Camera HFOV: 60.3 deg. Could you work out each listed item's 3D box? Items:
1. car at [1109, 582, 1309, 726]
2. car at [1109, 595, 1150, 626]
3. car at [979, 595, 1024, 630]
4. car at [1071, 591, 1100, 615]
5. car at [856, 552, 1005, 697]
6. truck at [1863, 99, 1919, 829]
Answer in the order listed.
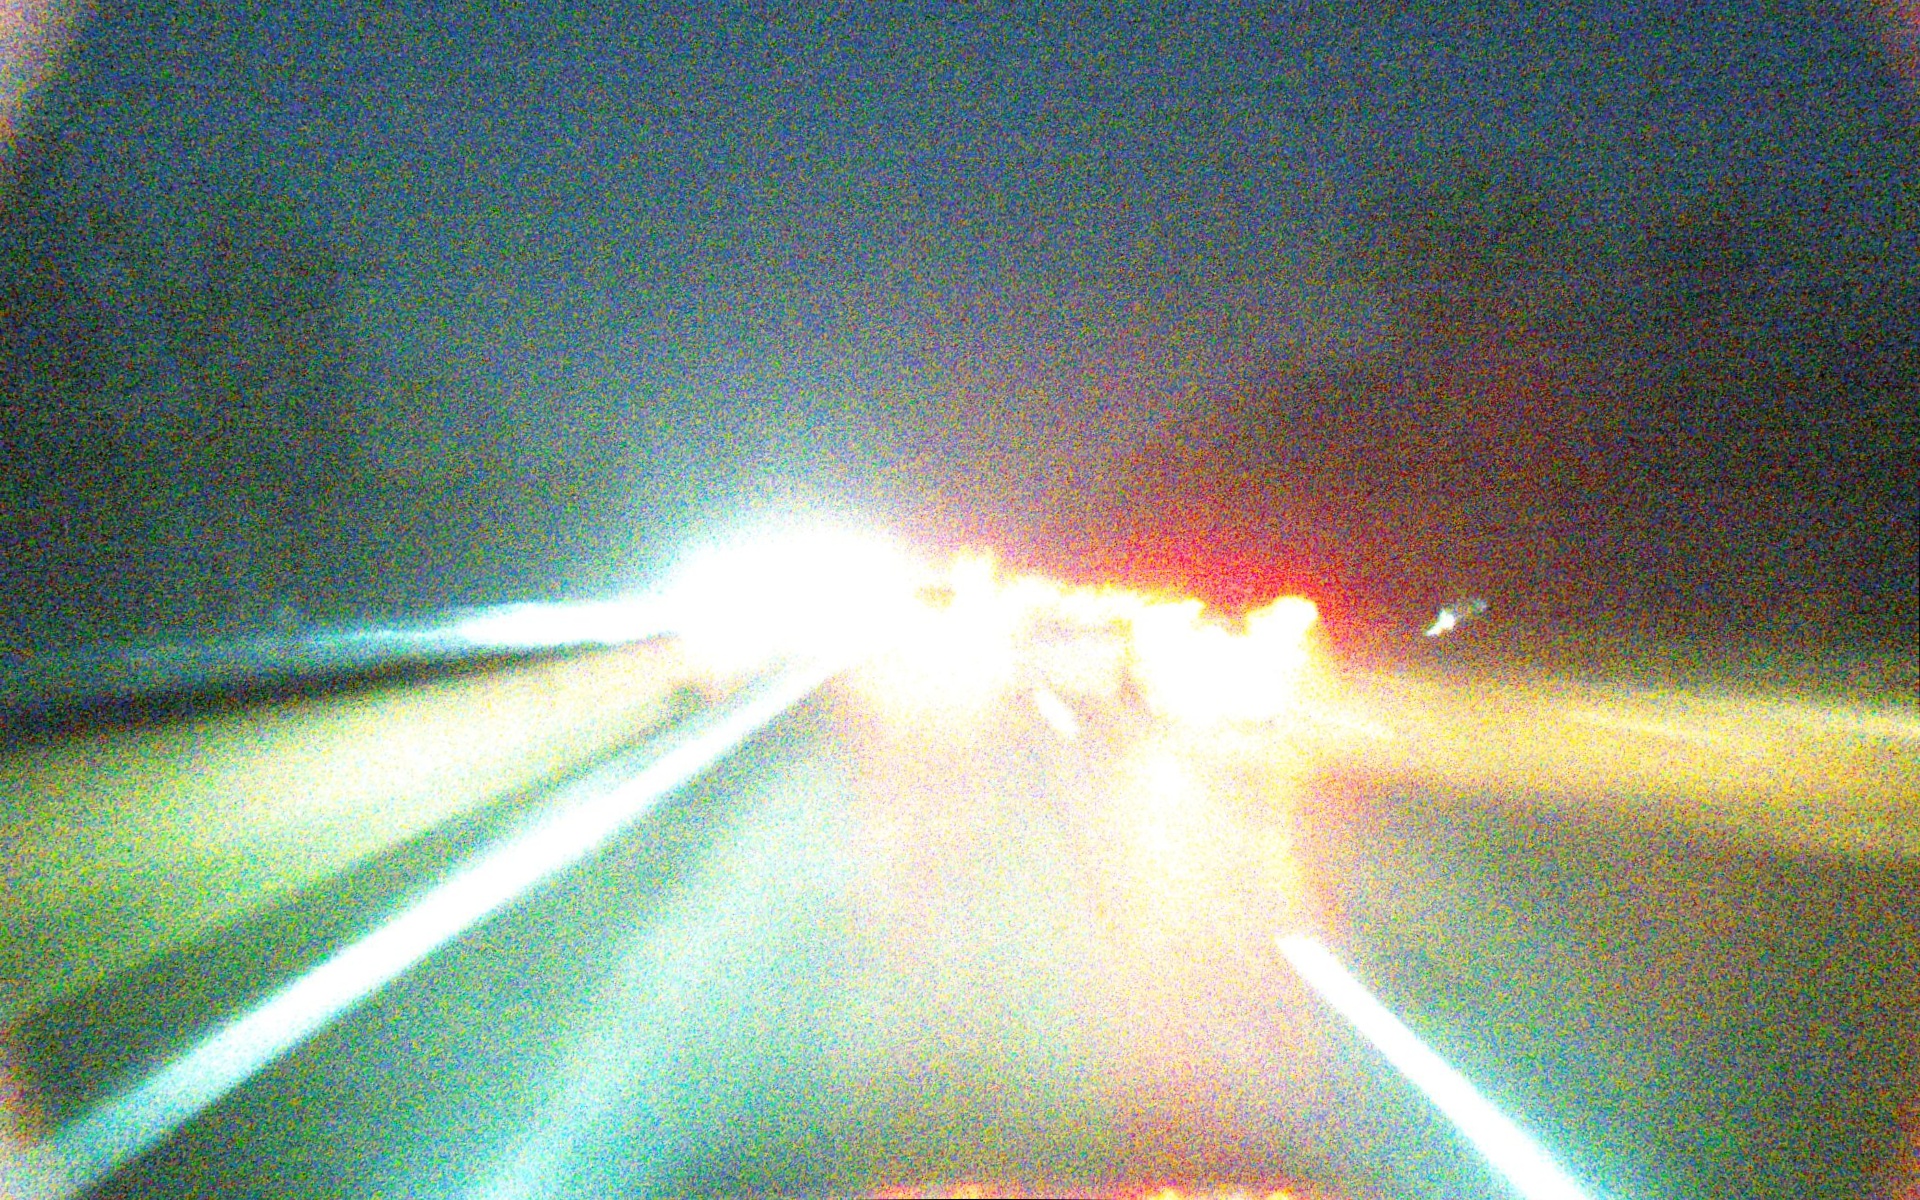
[{"bbox_3d":[3.038,0.610,20.949,1.846,1.616,3.999,1,0,-1],"label":"car"},{"bbox_3d":[9.412,0.575,92.020,1.818,1.646,4.000,1,0,0],"label":"car"},{"bbox_3d":[2.020,0.619,82.194,2.093,1.646,4.000,1,0,0],"label":"car"},{"bbox_3d":[8.845,0.208,116.871,1.817,1.646,4.000,1,0,1],"label":"car"},{"bbox_3d":[-0.646,0.410,33.187,2.655,2.578,5.828,-2,1,-2],"label":"car"},{"bbox_3d":[7.124,-0.786,6.687,2.747,4.341,7.446,1,0,-1],"label":"truck"}]
